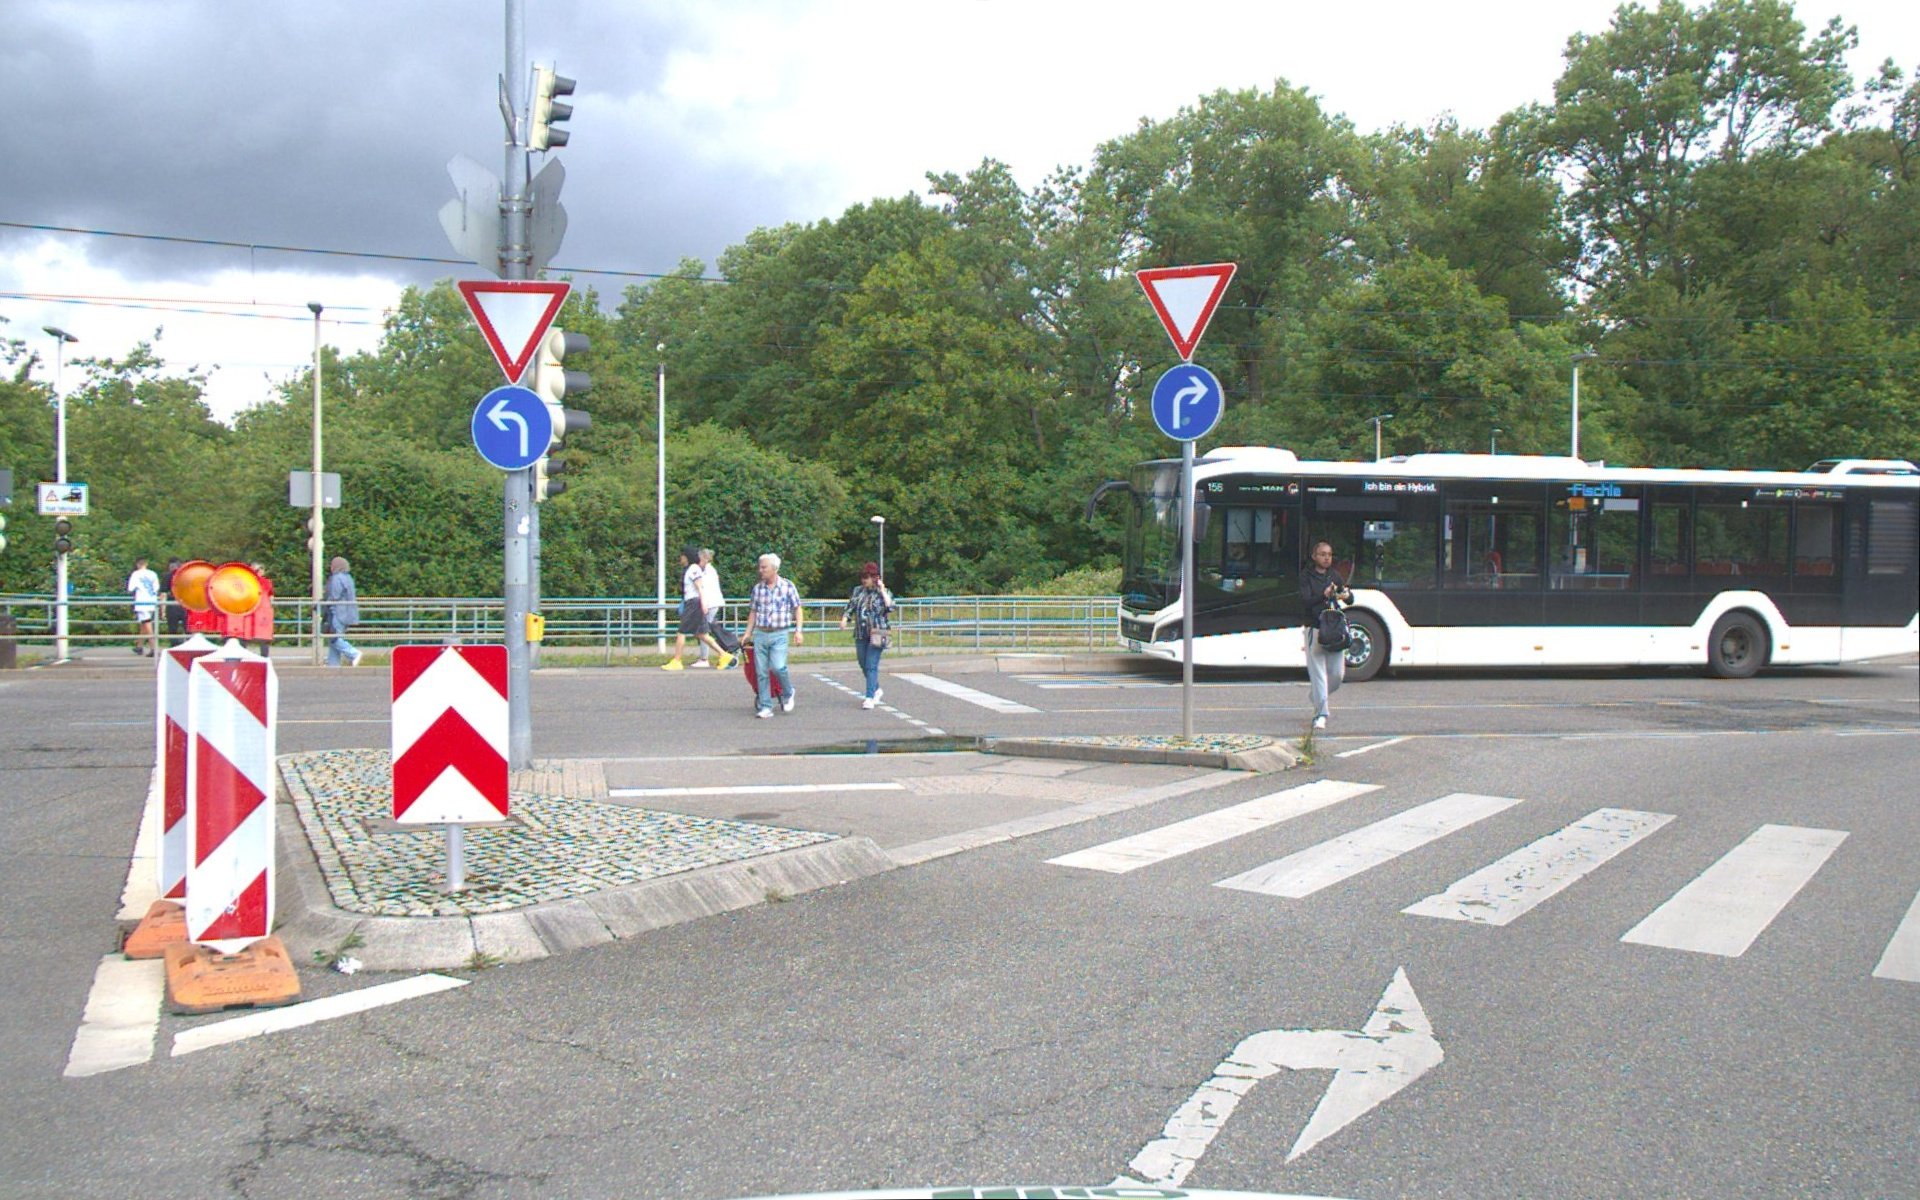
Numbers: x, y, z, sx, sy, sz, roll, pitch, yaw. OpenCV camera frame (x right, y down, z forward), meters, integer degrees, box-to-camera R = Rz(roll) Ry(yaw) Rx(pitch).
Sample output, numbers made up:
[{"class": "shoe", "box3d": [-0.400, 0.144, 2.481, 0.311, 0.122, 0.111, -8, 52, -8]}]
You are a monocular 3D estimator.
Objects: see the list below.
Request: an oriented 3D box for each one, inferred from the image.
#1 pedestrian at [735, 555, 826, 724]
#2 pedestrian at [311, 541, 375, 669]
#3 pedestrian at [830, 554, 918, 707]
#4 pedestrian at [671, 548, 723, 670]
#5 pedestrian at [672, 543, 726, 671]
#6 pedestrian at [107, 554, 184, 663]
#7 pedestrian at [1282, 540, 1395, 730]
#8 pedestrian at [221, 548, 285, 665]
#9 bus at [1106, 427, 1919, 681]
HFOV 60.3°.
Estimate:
[{"class": "pedestrian", "box3d": [-1.823, 0.381, 16.774, 0.712, 1.662, 0.692, 0, 0, -29]}, {"class": "pedestrian", "box3d": [-8.738, 0.065, 23.442, 0.708, 1.778, 0.954, 0, 0, -13]}, {"class": "pedestrian", "box3d": [-0.926, 0.313, 17.742, 0.721, 1.594, 0.686, 0, 0, -28]}, {"class": "pedestrian", "box3d": [-3.896, 0.127, 24.542, 0.706, 1.778, 0.956, 1, 0, -7]}, {"class": "pedestrian", "box3d": [-3.704, 0.099, 23.497, 0.706, 1.778, 0.956, 1, 0, -7]}, {"class": "pedestrian", "box3d": [-13.613, 0.136, 27.642, 0.935, 1.778, 0.722, 1, 0, 26]}, {"class": "pedestrian", "box3d": [3.680, 0.325, 16.157, 0.934, 1.777, 1.063, 1, 0, 6]}, {"class": "pedestrian", "box3d": [-10.202, 0.092, 23.895, 0.708, 1.649, 0.802, 0, 0, -13]}, {"class": "bus", "box3d": [8.193, -0.619, 23.879, 11.949, 3.259, 2.666, 0, 1, -13]}]
